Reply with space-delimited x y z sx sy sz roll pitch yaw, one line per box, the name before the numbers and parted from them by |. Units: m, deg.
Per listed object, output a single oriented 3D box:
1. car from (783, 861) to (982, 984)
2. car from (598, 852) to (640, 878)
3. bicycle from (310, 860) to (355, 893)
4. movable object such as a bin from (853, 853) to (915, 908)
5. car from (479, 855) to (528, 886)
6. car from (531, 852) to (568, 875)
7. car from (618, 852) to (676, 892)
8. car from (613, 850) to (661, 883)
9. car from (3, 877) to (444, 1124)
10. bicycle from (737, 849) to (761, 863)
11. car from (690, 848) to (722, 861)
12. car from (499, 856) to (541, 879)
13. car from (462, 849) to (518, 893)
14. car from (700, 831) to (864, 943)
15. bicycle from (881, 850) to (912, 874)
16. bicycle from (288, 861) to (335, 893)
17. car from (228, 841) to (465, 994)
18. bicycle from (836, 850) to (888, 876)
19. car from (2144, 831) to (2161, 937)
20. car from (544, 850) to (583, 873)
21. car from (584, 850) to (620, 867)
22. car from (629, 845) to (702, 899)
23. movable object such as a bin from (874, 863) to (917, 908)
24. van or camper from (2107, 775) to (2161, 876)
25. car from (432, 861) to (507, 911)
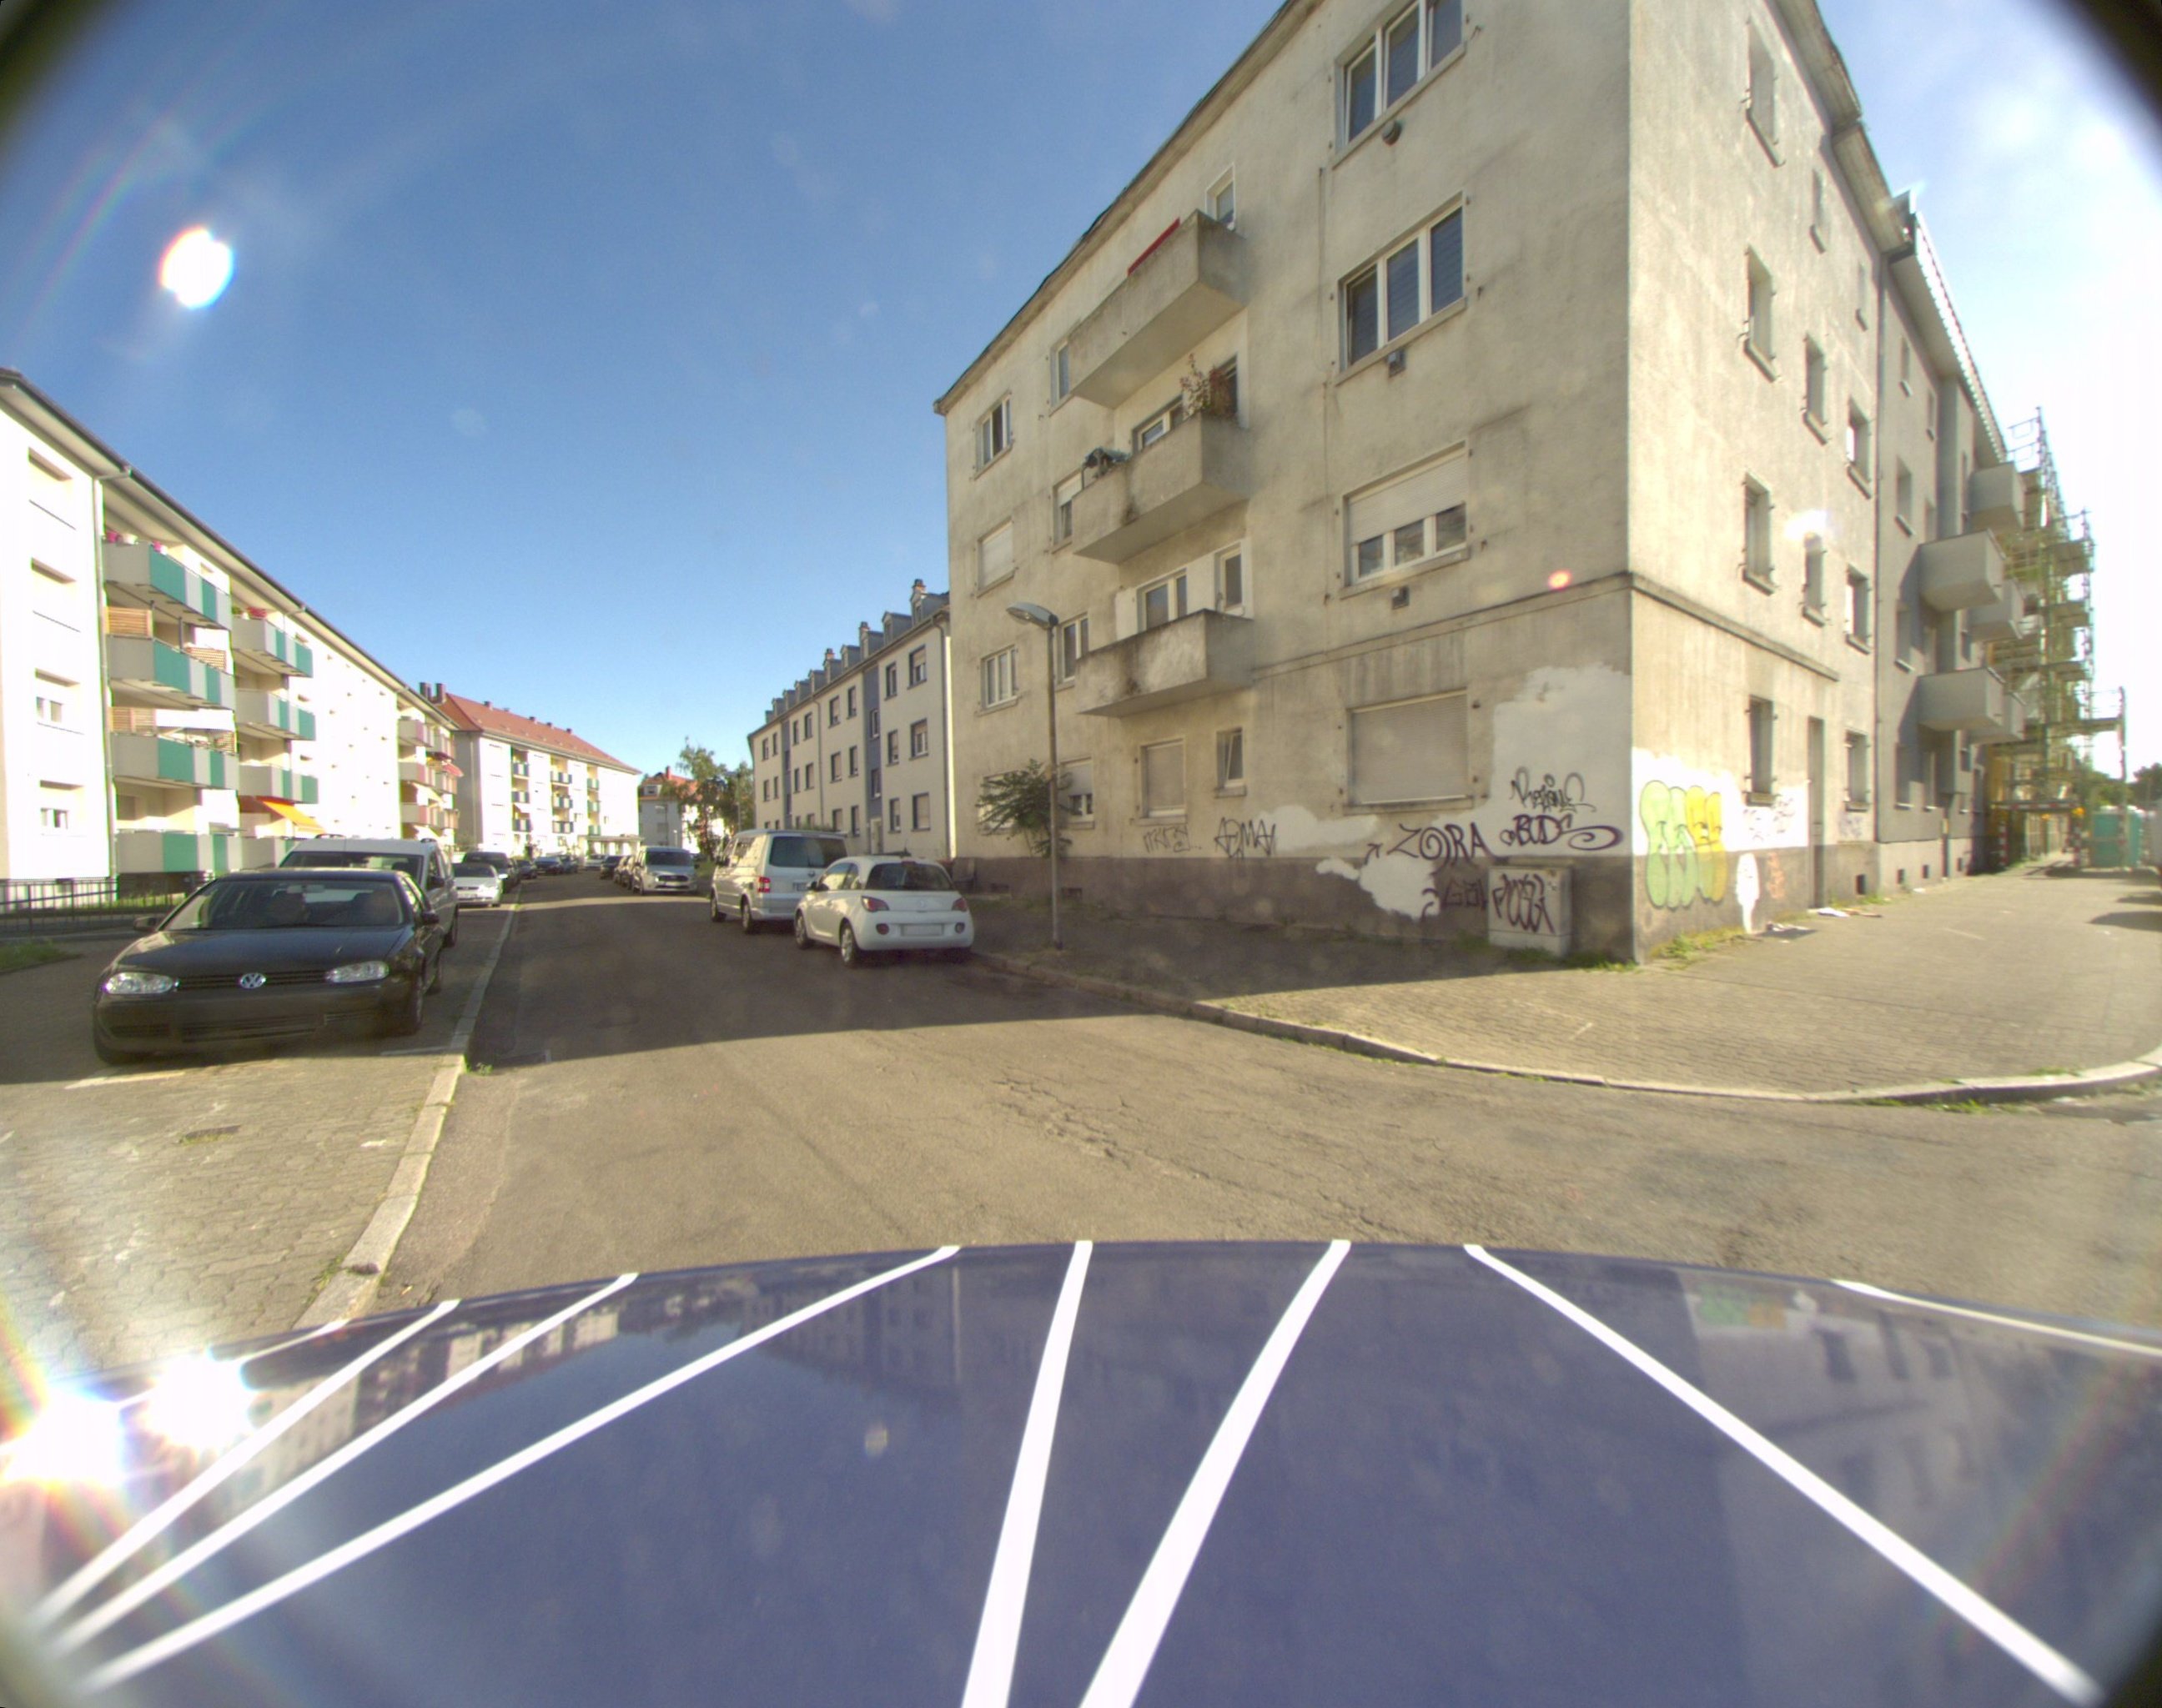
car | -3.072 0.850 11.241 1.695 1.450 3.711 0 0 -35
car | -27.364 0.629 44.952 1.910 1.450 4.384 1 0 -34
bicycle | -27.007 0.799 27.437 0.507 1.087 2.069 -4 3 -28
movable object such as a bin | -5.268 0.687 20.313 1.261 1.369 1.042 -3 2 -36
car | -28.923 0.810 38.144 1.648 1.450 3.850 0 0 -33
car | -40.785 0.703 58.398 1.585 1.752 4.229 0 0 -25
car | -18.783 0.752 32.782 1.682 1.581 4.153 2 -1 -36
car | -21.364 0.591 36.466 1.652 1.510 3.692 2 -1 -35
car | -7.085 0.963 6.835 1.807 1.406 4.038 1 0 -36
bicycle | -27.513 0.145 63.049 1.737 0.984 0.461 -5 4 -21
car | -44.984 0.072 91.280 1.574 1.417 3.980 1 0 5
car | -36.224 0.840 49.154 1.681 1.411 3.851 0 0 -29
car | -26.095 0.684 33.663 1.768 1.829 4.906 0 0 -36
car | -6.296 0.562 15.618 1.961 1.922 4.843 0 0 -36
bicycle | -7.923 0.341 32.589 0.501 0.956 2.069 -6 4 -35
bicycle | -27.520 0.806 27.215 0.507 1.038 2.069 -4 3 -28
car | -10.729 0.765 11.478 1.807 1.835 4.527 1 0 -34
bicycle | -9.676 0.386 33.563 2.077 0.956 0.499 -6 4 -35
car | 18.462 0.401 11.842 4.007 1.544 2.065 -2 1 -37
car | -43.169 0.572 63.472 1.760 1.725 3.992 -6 3 -23
car | -47.401 0.465 75.273 1.759 1.625 4.399 0 0 -15
car | -15.432 0.627 28.073 1.809 1.819 4.935 1 0 -35
movable object such as a bin | -4.719 0.776 19.294 0.776 1.073 0.814 -3 3 -36
van or camper | 36.655 -0.957 25.232 6.184 3.162 2.951 -2 2 -36
car | -19.648 0.954 24.539 1.751 1.398 4.302 0 0 -37
